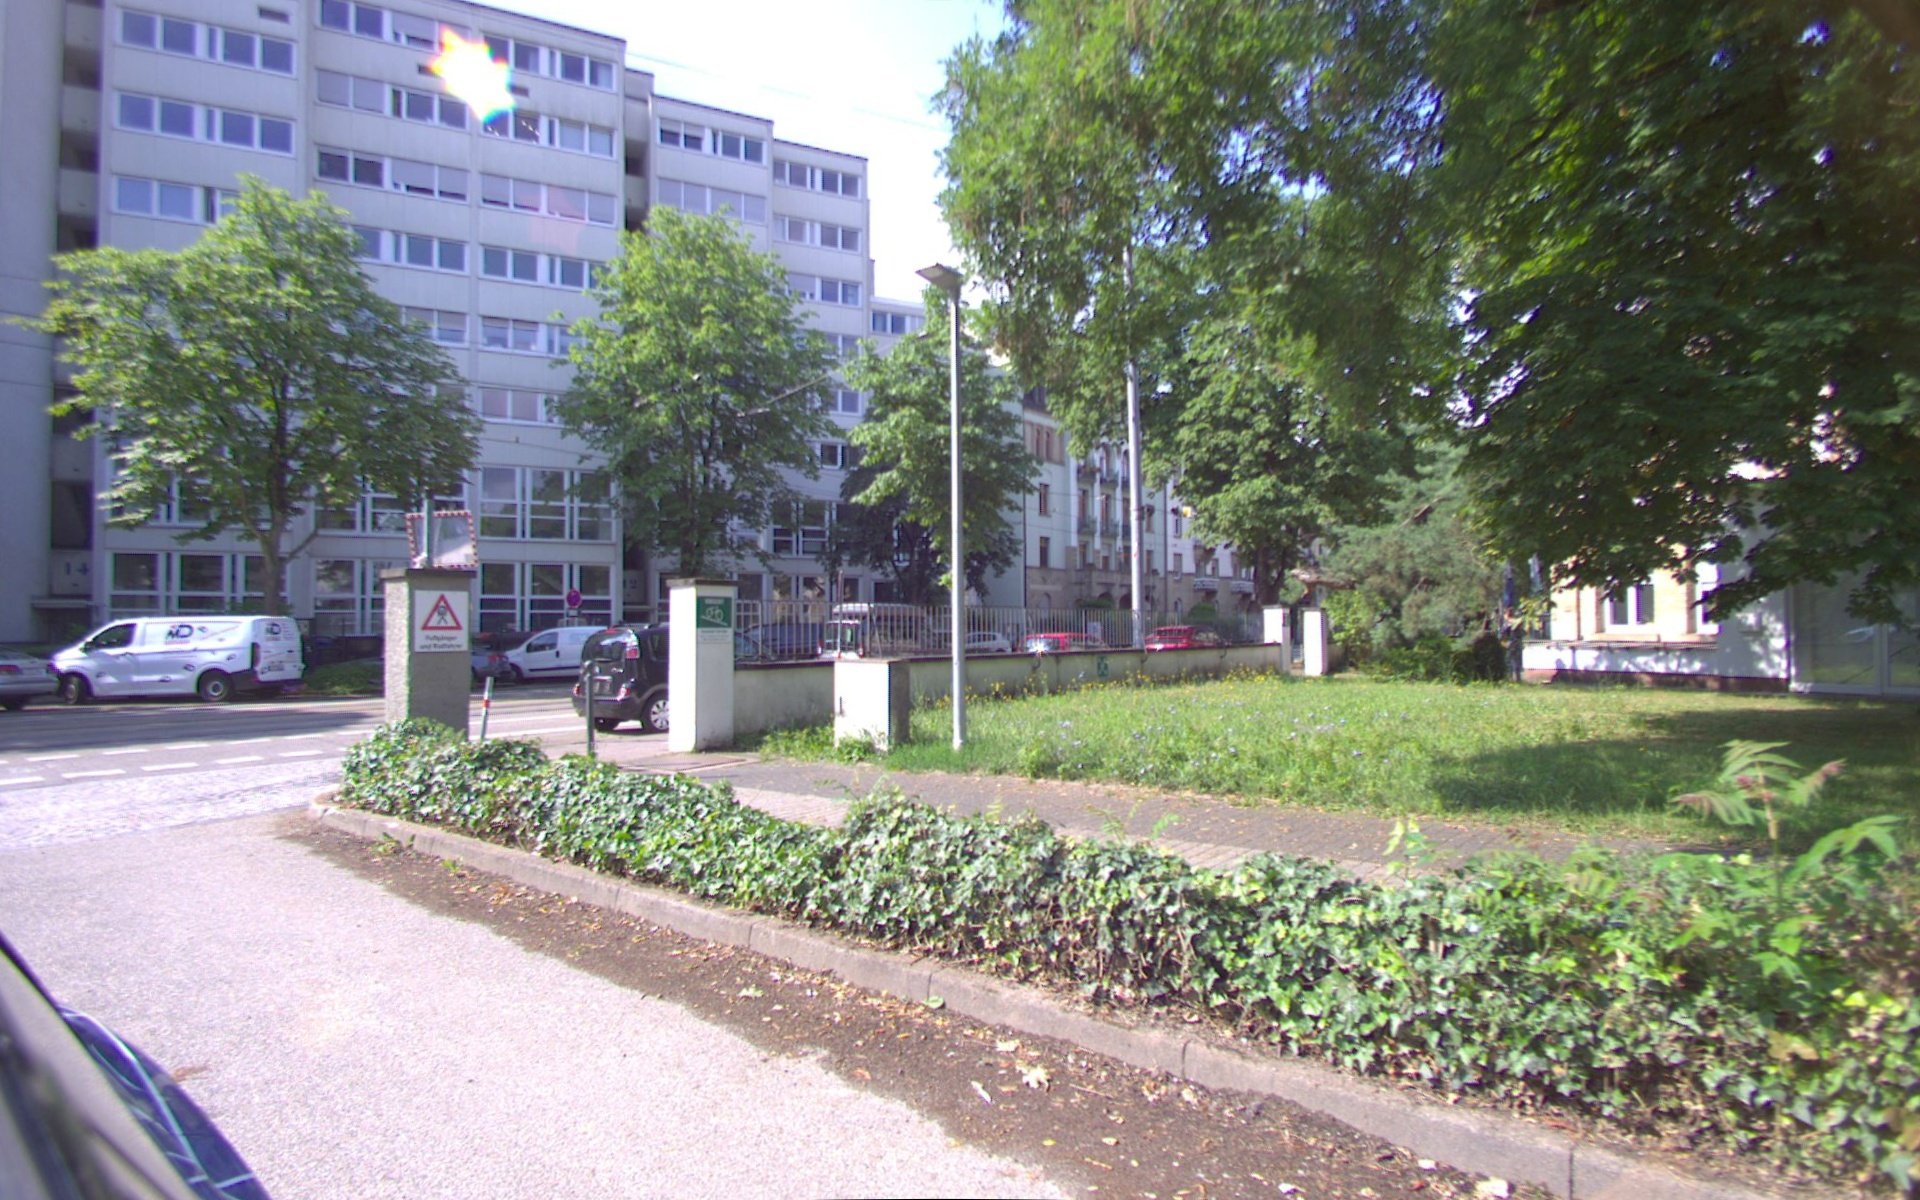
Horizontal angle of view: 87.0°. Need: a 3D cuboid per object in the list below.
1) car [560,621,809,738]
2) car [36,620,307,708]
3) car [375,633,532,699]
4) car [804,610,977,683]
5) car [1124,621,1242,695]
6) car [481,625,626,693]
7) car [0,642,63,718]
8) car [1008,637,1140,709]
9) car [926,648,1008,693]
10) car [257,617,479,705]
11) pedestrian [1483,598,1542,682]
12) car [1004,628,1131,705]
[{"bbox_3d":[-4.263,1.168,16.072,1.677,1.624,3.539,-2,-3,38],"label":"car"},{"bbox_3d":[-17.901,1.452,23.176,4.573,1.927,1.933,0,-3,-3],"label":"car"},{"bbox_3d":[-14.207,1.836,28.574,3.578,1.512,1.766,-2,3,-10],"label":"car"},{"bbox_3d":[-1.767,1.220,27.267,1.944,1.787,4.775,-3,-3,38],"label":"car"},{"bbox_3d":[6.840,1.693,30.781,1.965,1.718,3.948,2,5,39],"label":"car"},{"bbox_3d":[-12.349,1.772,30.942,3.700,1.724,1.887,-2,4,-7],"label":"car"},{"bbox_3d":[-20.949,1.643,20.622,3.726,1.487,1.727,-1,-1,-5],"label":"car"},{"bbox_3d":[2.912,1.776,25.349,1.677,1.624,3.539,-2,-3,38],"label":"car"},{"bbox_3d":[0.304,3.185,45.955,3.554,1.589,1.634,-5,2,-1],"label":"car"},{"bbox_3d":[-15.052,1.521,25.934,4.506,2.012,1.905,0,3,-3],"label":"car"},{"bbox_3d":[11.802,0.838,21.619,0.795,1.690,0.775,-3,4,-25],"label":"pedestrian"},{"bbox_3d":[2.745,1.596,25.339,1.670,1.497,3.238,-1,3,38],"label":"car"}]
